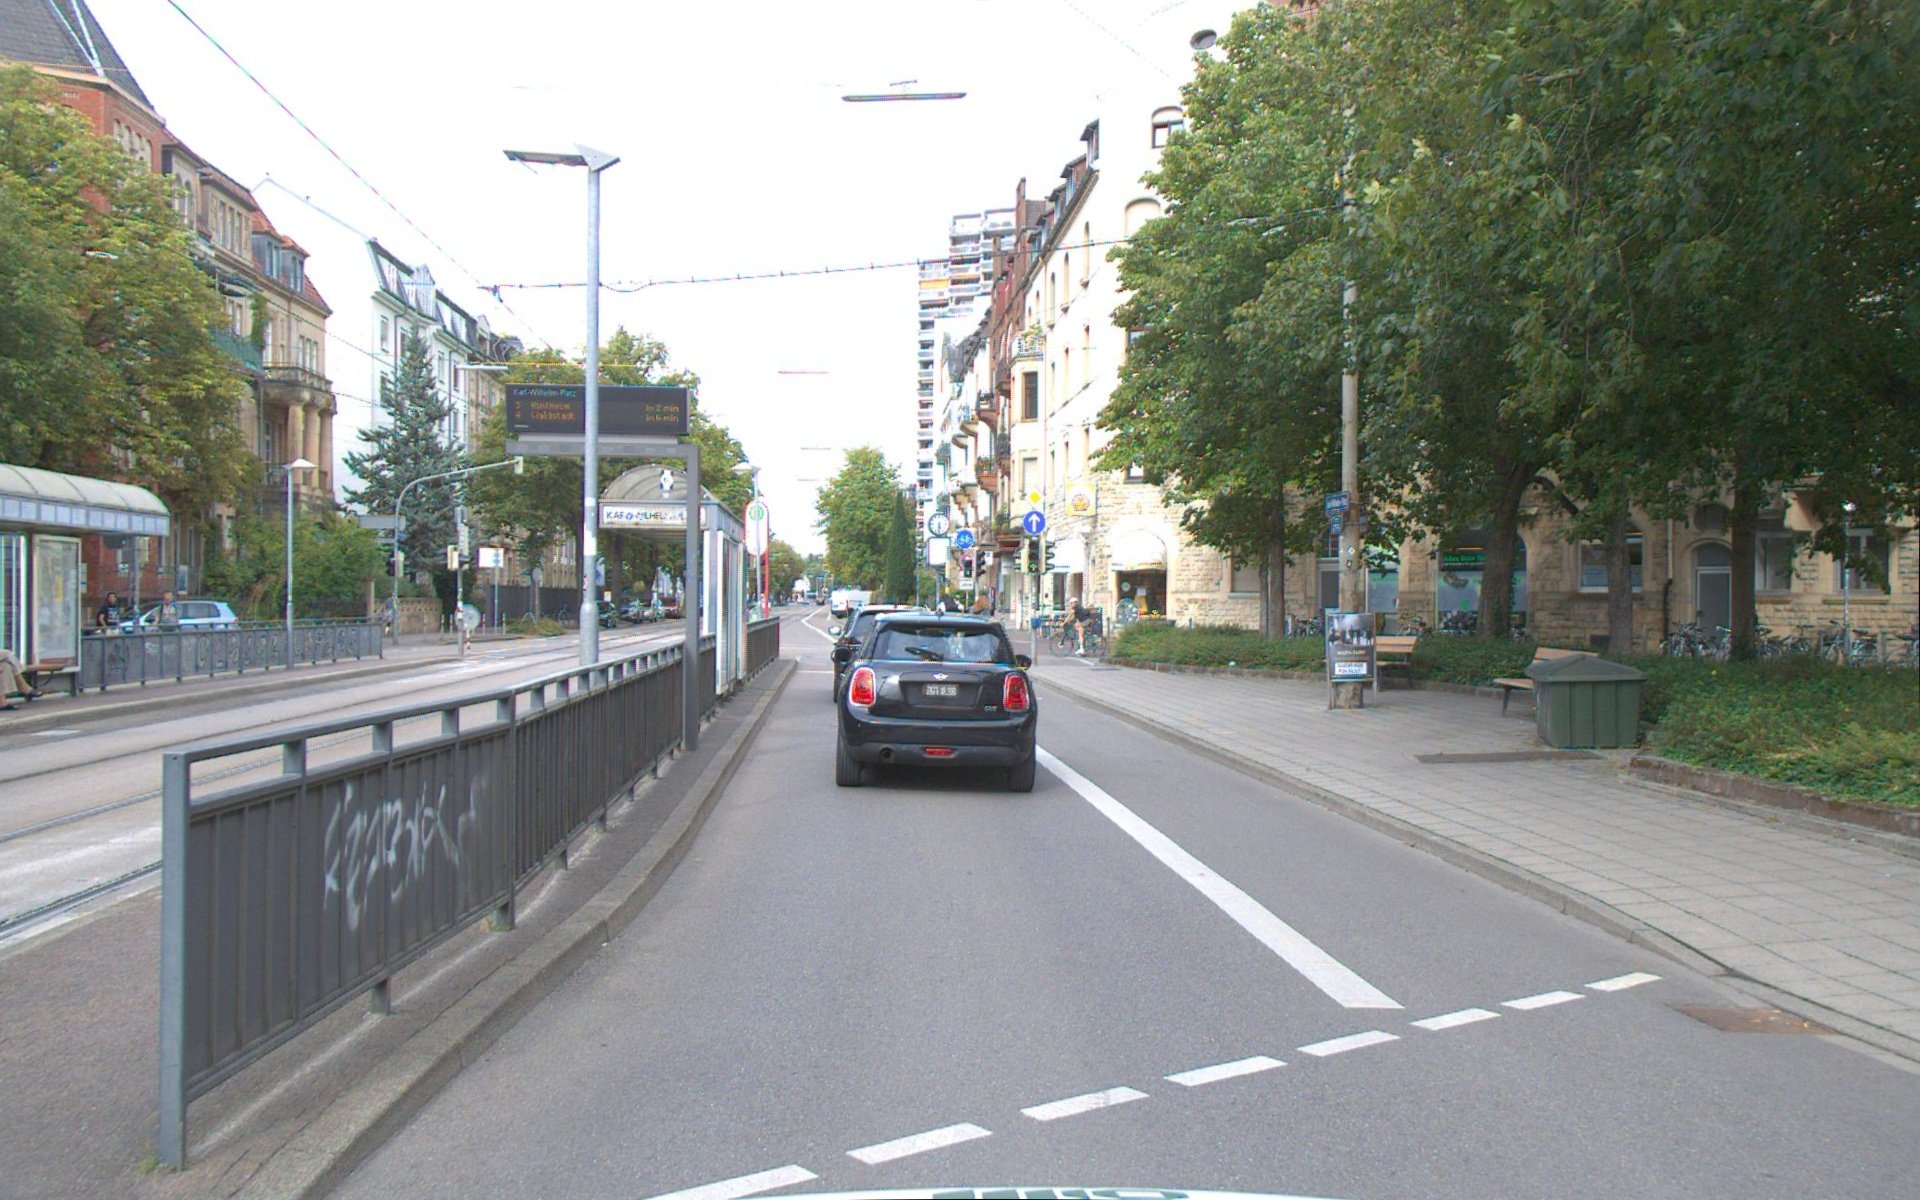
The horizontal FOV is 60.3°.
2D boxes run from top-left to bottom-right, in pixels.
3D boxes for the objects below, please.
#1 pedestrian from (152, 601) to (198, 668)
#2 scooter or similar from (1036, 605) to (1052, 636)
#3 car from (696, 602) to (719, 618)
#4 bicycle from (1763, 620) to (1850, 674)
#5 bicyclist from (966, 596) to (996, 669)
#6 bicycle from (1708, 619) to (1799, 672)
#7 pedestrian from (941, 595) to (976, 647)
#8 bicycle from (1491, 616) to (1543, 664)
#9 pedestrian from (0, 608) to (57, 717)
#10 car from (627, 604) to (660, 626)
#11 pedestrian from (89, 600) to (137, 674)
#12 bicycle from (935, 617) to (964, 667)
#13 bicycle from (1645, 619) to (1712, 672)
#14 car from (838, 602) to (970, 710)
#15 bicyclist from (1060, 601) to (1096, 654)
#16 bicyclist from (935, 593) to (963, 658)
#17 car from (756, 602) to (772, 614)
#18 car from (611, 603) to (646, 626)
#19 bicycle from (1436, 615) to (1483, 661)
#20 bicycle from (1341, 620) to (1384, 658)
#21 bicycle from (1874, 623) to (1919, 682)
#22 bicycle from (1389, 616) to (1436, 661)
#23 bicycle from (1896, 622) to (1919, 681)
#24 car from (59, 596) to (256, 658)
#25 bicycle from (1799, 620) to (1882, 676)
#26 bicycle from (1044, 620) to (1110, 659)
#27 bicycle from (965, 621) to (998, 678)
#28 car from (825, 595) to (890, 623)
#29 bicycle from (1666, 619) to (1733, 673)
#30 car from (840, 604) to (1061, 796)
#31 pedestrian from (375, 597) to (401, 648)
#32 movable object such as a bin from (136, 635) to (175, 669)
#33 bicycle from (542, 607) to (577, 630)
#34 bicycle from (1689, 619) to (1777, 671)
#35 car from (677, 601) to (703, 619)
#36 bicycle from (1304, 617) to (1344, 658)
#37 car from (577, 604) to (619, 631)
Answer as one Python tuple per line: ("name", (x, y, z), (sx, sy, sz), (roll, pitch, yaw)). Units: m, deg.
("pedestrian", (-19.569, 0.856, 41.254), (0.853, 1.661, 0.743), (0, 0, -10))
("scooter or similar", (3.299, 0.803, 65.069), (0.498, 1.209, 1.260), (0, 0, -4))
("car", (-25.641, 0.989, 168.130), (1.954, 1.579, 3.997), (0, 0, -4))
("bicycle", (18.282, 1.006, 35.716), (1.860, 1.147, 0.579), (0, 0, -22))
("bicyclist", (0.452, 0.704, 36.276), (0.583, 1.577, 1.013), (0, 0, -4))
("bicycle", (17.623, 1.003, 36.732), (1.855, 1.147, 0.597), (0, 0, -13))
("pedestrian", (-0.060, 0.716, 55.881), (0.720, 1.703, 0.830), (-3, 0, 42))
("bicycle", (13.976, 0.988, 41.462), (0.654, 1.147, 1.885), (0, 0, 37))
("pedestrian", (-11.933, 0.758, 20.484), (1.039, 1.316, 0.984), (0, 0, -10))
("car", (-21.042, 0.999, 110.108), (1.732, 1.420, 3.996), (0, 0, -5))
("pedestrian", (-19.972, 0.859, 39.026), (0.817, 1.733, 0.731), (0, 0, -10))
("bicycle", (-0.275, 1.020, 41.015), (0.670, 1.191, 1.696), (0, 0, -2))
("bicycle", (16.705, 1.048, 38.449), (1.872, 1.147, 0.526), (-1, 0, -35))
("car", (-0.902, 0.796, 25.661), (1.888, 1.536, 3.997), (0, 0, -3))
("bicyclist", (3.373, 0.771, 47.142), (0.893, 1.498, 0.617), (0, 0, 18))
("bicyclist", (-0.275, 0.620, 41.043), (0.670, 1.591, 0.998), (0, 0, -2))
("car", (-23.265, 0.982, 196.160), (1.732, 1.420, 3.996), (0, 0, -5))
("car", (-20.517, 0.886, 102.460), (1.732, 1.420, 3.996), (0, 0, -5))
("bicycle", (12.868, 0.977, 42.601), (0.522, 1.147, 1.885), (0, 0, 37))
("bicycle", (10.875, 1.039, 44.691), (0.522, 0.989, 1.642), (0, 0, 37))
("bicycle", (19.393, 1.045, 33.237), (1.852, 1.147, 0.532), (0, 0, -8))
("bicycle", (11.894, 0.989, 43.410), (0.522, 1.147, 1.885), (0, 0, 37))
("bicycle", (19.514, 1.016, 32.660), (1.852, 1.147, 0.532), (0, 0, -8))
("car", (-21.773, 0.706, 44.988), (2.170, 1.606, 4.327), (0, 0, 39))
("bicycle", (18.630, 1.008, 34.982), (1.865, 1.147, 0.589), (0, 0, -27))
("bicycle", (3.336, 1.120, 47.158), (1.777, 1.095, 0.617), (0, 0, 18))
("bicycle", (0.466, 1.068, 36.280), (0.586, 1.191, 1.695), (0, 0, -4))
("car", (-8.375, 0.717, 135.641), (5.002, 2.312, 2.357), (0, 0, -45))
("bicycle", (16.992, 1.042, 37.984), (1.872, 1.147, 0.526), (-2, 1, -35))
("car", (-0.192, 0.800, 15.100), (1.717, 1.466, 3.997), (2, 0, -4))
("pedestrian", (-20.765, 0.813, 60.058), (0.716, 1.815, 0.834), (0, 0, -4))
("movable object such as a bin", (-19.860, 1.279, 40.857), (0.715, 0.813, 0.620), (0, 0, -10))
("bicycle", (-20.062, 0.914, 82.956), (1.659, 1.138, 0.564), (0, 0, -44))
("bicycle", (17.444, 1.005, 37.306), (1.855, 1.147, 0.561), (0, 0, -13))
("car", (-24.820, 0.902, 151.925), (1.954, 1.579, 3.997), (0, 0, -4))
("bicycle", (10.017, 1.017, 45.469), (0.441, 1.074, 1.642), (0, 0, 37))
("car", (-19.753, 0.952, 90.467), (1.732, 1.420, 3.996), (0, 0, -5))
